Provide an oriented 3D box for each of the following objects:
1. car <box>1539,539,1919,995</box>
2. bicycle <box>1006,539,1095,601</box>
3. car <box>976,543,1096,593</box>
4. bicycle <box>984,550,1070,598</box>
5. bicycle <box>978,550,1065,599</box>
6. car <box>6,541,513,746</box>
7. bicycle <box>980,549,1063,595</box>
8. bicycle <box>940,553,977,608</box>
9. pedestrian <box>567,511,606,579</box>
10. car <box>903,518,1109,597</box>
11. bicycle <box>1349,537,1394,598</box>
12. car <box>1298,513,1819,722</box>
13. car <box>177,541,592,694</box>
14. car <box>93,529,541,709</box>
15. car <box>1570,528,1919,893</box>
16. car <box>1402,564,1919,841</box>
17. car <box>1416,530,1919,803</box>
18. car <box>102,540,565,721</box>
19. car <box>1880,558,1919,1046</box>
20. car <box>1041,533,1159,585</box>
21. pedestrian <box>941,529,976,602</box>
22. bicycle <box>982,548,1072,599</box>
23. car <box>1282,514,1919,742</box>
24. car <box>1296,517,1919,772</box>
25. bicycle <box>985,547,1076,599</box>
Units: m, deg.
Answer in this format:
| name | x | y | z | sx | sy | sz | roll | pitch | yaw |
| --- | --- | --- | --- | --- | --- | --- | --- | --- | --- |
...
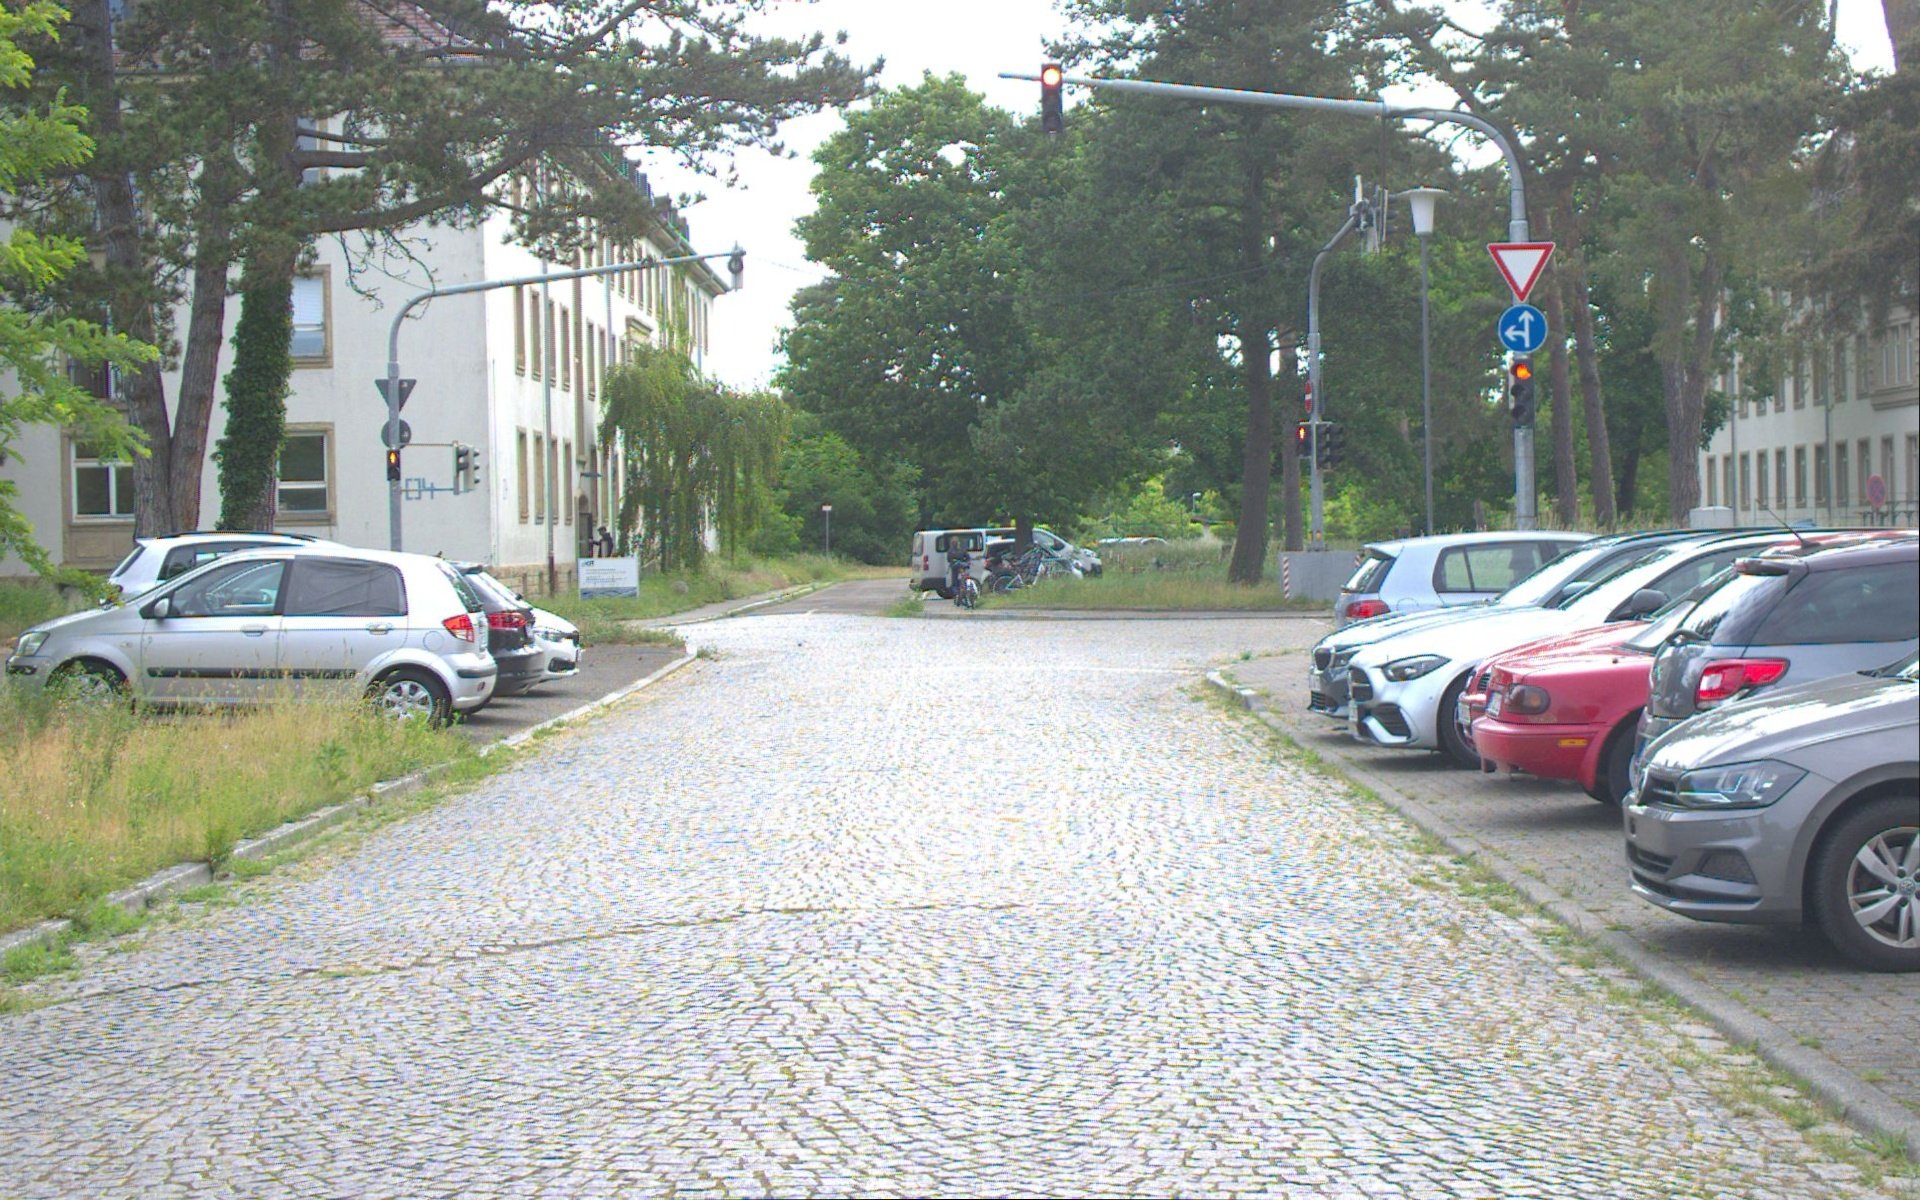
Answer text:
| name | x | y | z | sx | sy | sz | roll | pitch | yaw |
| --- | --- | --- | --- | --- | --- | --- | --- | --- | --- |
| car | 4.253 | 0.490 | 12.565 | 3.862 | 1.467 | 1.758 | -3 | 1 | -3 |
| bicycle | 2.057 | -0.693 | 78.287 | 1.954 | 1.379 | 0.588 | -1 | 1 | -6 |
| car | 2.007 | -0.857 | 91.532 | 3.005 | 1.264 | 1.535 | -1 | 1 | -5 |
| bicycle | 1.569 | -0.615 | 80.297 | 1.955 | 1.066 | 0.588 | -2 | 1 | -29 |
| bicycle | 1.413 | -0.591 | 78.949 | 1.955 | 1.066 | 0.588 | -2 | 1 | -29 |
| car | -5.492 | 0.321 | 27.266 | 3.702 | 1.474 | 1.583 | 2 | 1 | -2 |
| bicycle | 1.501 | -0.690 | 83.984 | 1.954 | 1.066 | 0.588 | -1 | 1 | -24 |
| bicycle | -0.041 | -0.425 | 73.655 | 0.603 | 1.128 | 1.962 | -1 | 1 | -5 |
| pedestrian | -10.064 | -1.479 | 92.697 | 0.774 | 1.831 | 0.741 | -2 | 1 | -31 |
| car | 1.254 | -1.179 | 94.914 | 5.359 | 1.918 | 2.025 | -2 | 1 | -8 |
| bicycle | 7.732 | -0.619 | 64.643 | 0.586 | 1.102 | 1.961 | -1 | 1 | 0 |
| car | 4.797 | 0.125 | 27.946 | 3.927 | 1.472 | 1.642 | -3 | 1 | 2 |
| car | -5.840 | 0.159 | 35.189 | 3.947 | 1.416 | 1.650 | 2 | 1 | 0 |
| car | -6.048 | 0.166 | 32.648 | 3.947 | 1.558 | 1.650 | 2 | 1 | -2 |
| car | 4.864 | 0.395 | 15.429 | 3.862 | 1.467 | 1.758 | -3 | 1 | -1 |
| car | 4.401 | 0.481 | 18.077 | 3.862 | 1.232 | 1.758 | -3 | 1 | -1 |
| car | 5.005 | 0.336 | 20.539 | 4.262 | 1.412 | 1.871 | -3 | 1 | 0 |
| car | -5.384 | 0.249 | 29.862 | 3.745 | 1.424 | 1.583 | 2 | 1 | -2 |
| car | 4.800 | 0.535 | 9.712 | 3.862 | 1.467 | 1.758 | -3 | 1 | -1 |
| car | 4.002 | -1.174 | 98.763 | 3.231 | 1.411 | 1.725 | -1 | 1 | -2 |
| pedestrian | -0.033 | -0.781 | 77.197 | 0.738 | 1.613 | 0.776 | -1 | 1 | -1 |
| bicycle | 1.515 | -0.591 | 77.464 | 1.954 | 1.113 | 0.588 | -1 | 1 | -6 |
| car | 4.864 | 0.176 | 25.494 | 4.680 | 1.412 | 1.871 | -3 | 1 | -2 |
| car | 4.640 | 0.250 | 22.810 | 4.421 | 1.412 | 1.871 | -3 | 1 | -8 |
| bicycle | 1.576 | -0.604 | 76.830 | 1.954 | 1.128 | 0.588 | -1 | 1 | -6 |
